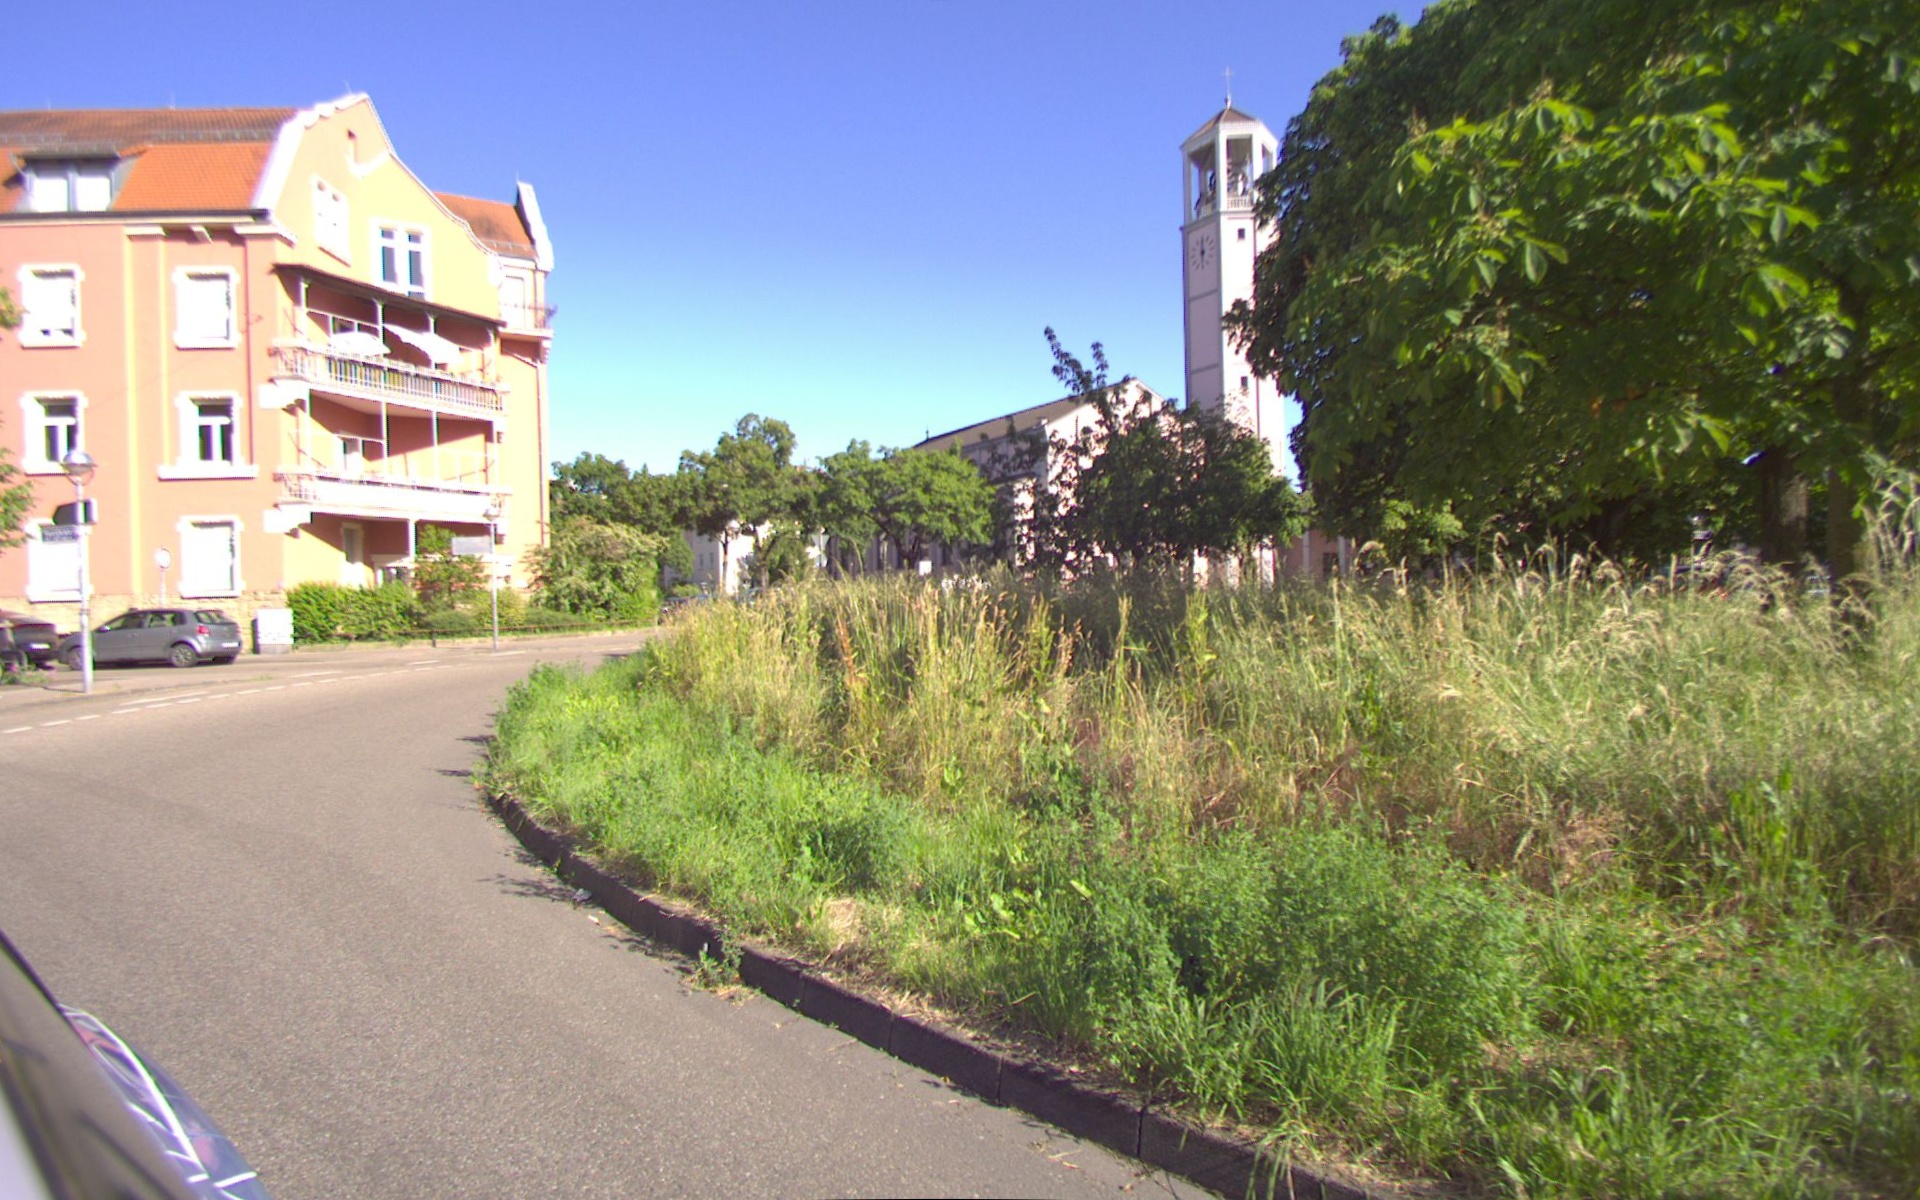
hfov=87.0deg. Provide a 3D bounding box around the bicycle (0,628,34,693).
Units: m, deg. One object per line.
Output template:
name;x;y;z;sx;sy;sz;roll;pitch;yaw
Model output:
bicycle;-17.055;1.057;17.603;1.505;1.094;0.419;-1;1;1

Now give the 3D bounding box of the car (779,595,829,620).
car;-9.903;0.469;63.890;1.778;1.485;4.352;-1;-1;-28

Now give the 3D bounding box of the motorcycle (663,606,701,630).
motorcycle;-13.265;0.866;48.296;1.699;1.115;0.502;1;-1;-38

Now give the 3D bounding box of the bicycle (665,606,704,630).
bicycle;-12.949;0.826;47.597;0.501;1.115;1.804;-1;-1;43

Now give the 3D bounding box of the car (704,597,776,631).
car;-10.889;0.678;49.795;1.780;1.494;4.348;-4;2;-36

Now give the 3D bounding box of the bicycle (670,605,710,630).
bicycle;-12.515;0.817;46.863;1.697;1.123;0.547;1;-1;-31

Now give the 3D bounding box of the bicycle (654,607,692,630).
bicycle;-13.801;0.883;48.718;1.699;1.115;0.502;1;-1;-38

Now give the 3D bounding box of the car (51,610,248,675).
car;-19.977;1.032;25.067;3.493;1.457;1.689;-1;-1;-3

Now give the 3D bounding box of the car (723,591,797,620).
car;-13.945;0.373;70.639;4.701;2.016;1.814;0;-1;-36

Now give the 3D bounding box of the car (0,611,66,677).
car;-24.862;1.120;24.852;4.231;1.574;1.689;-1;-1;-3

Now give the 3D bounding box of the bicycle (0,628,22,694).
bicycle;-16.868;1.043;17.145;1.551;1.097;0.419;-1;0;0

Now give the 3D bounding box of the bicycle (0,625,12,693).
bicycle;-16.607;0.989;16.599;1.626;1.110;0.500;-1;1;0

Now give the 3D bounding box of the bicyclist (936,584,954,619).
bicyclist;-0.764;0.069;51.354;0.635;1.727;0.725;-2;0;-25

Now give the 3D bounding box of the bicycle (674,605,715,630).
bicycle;-12.095;0.788;46.104;1.697;1.123;0.547;1;-1;-31
